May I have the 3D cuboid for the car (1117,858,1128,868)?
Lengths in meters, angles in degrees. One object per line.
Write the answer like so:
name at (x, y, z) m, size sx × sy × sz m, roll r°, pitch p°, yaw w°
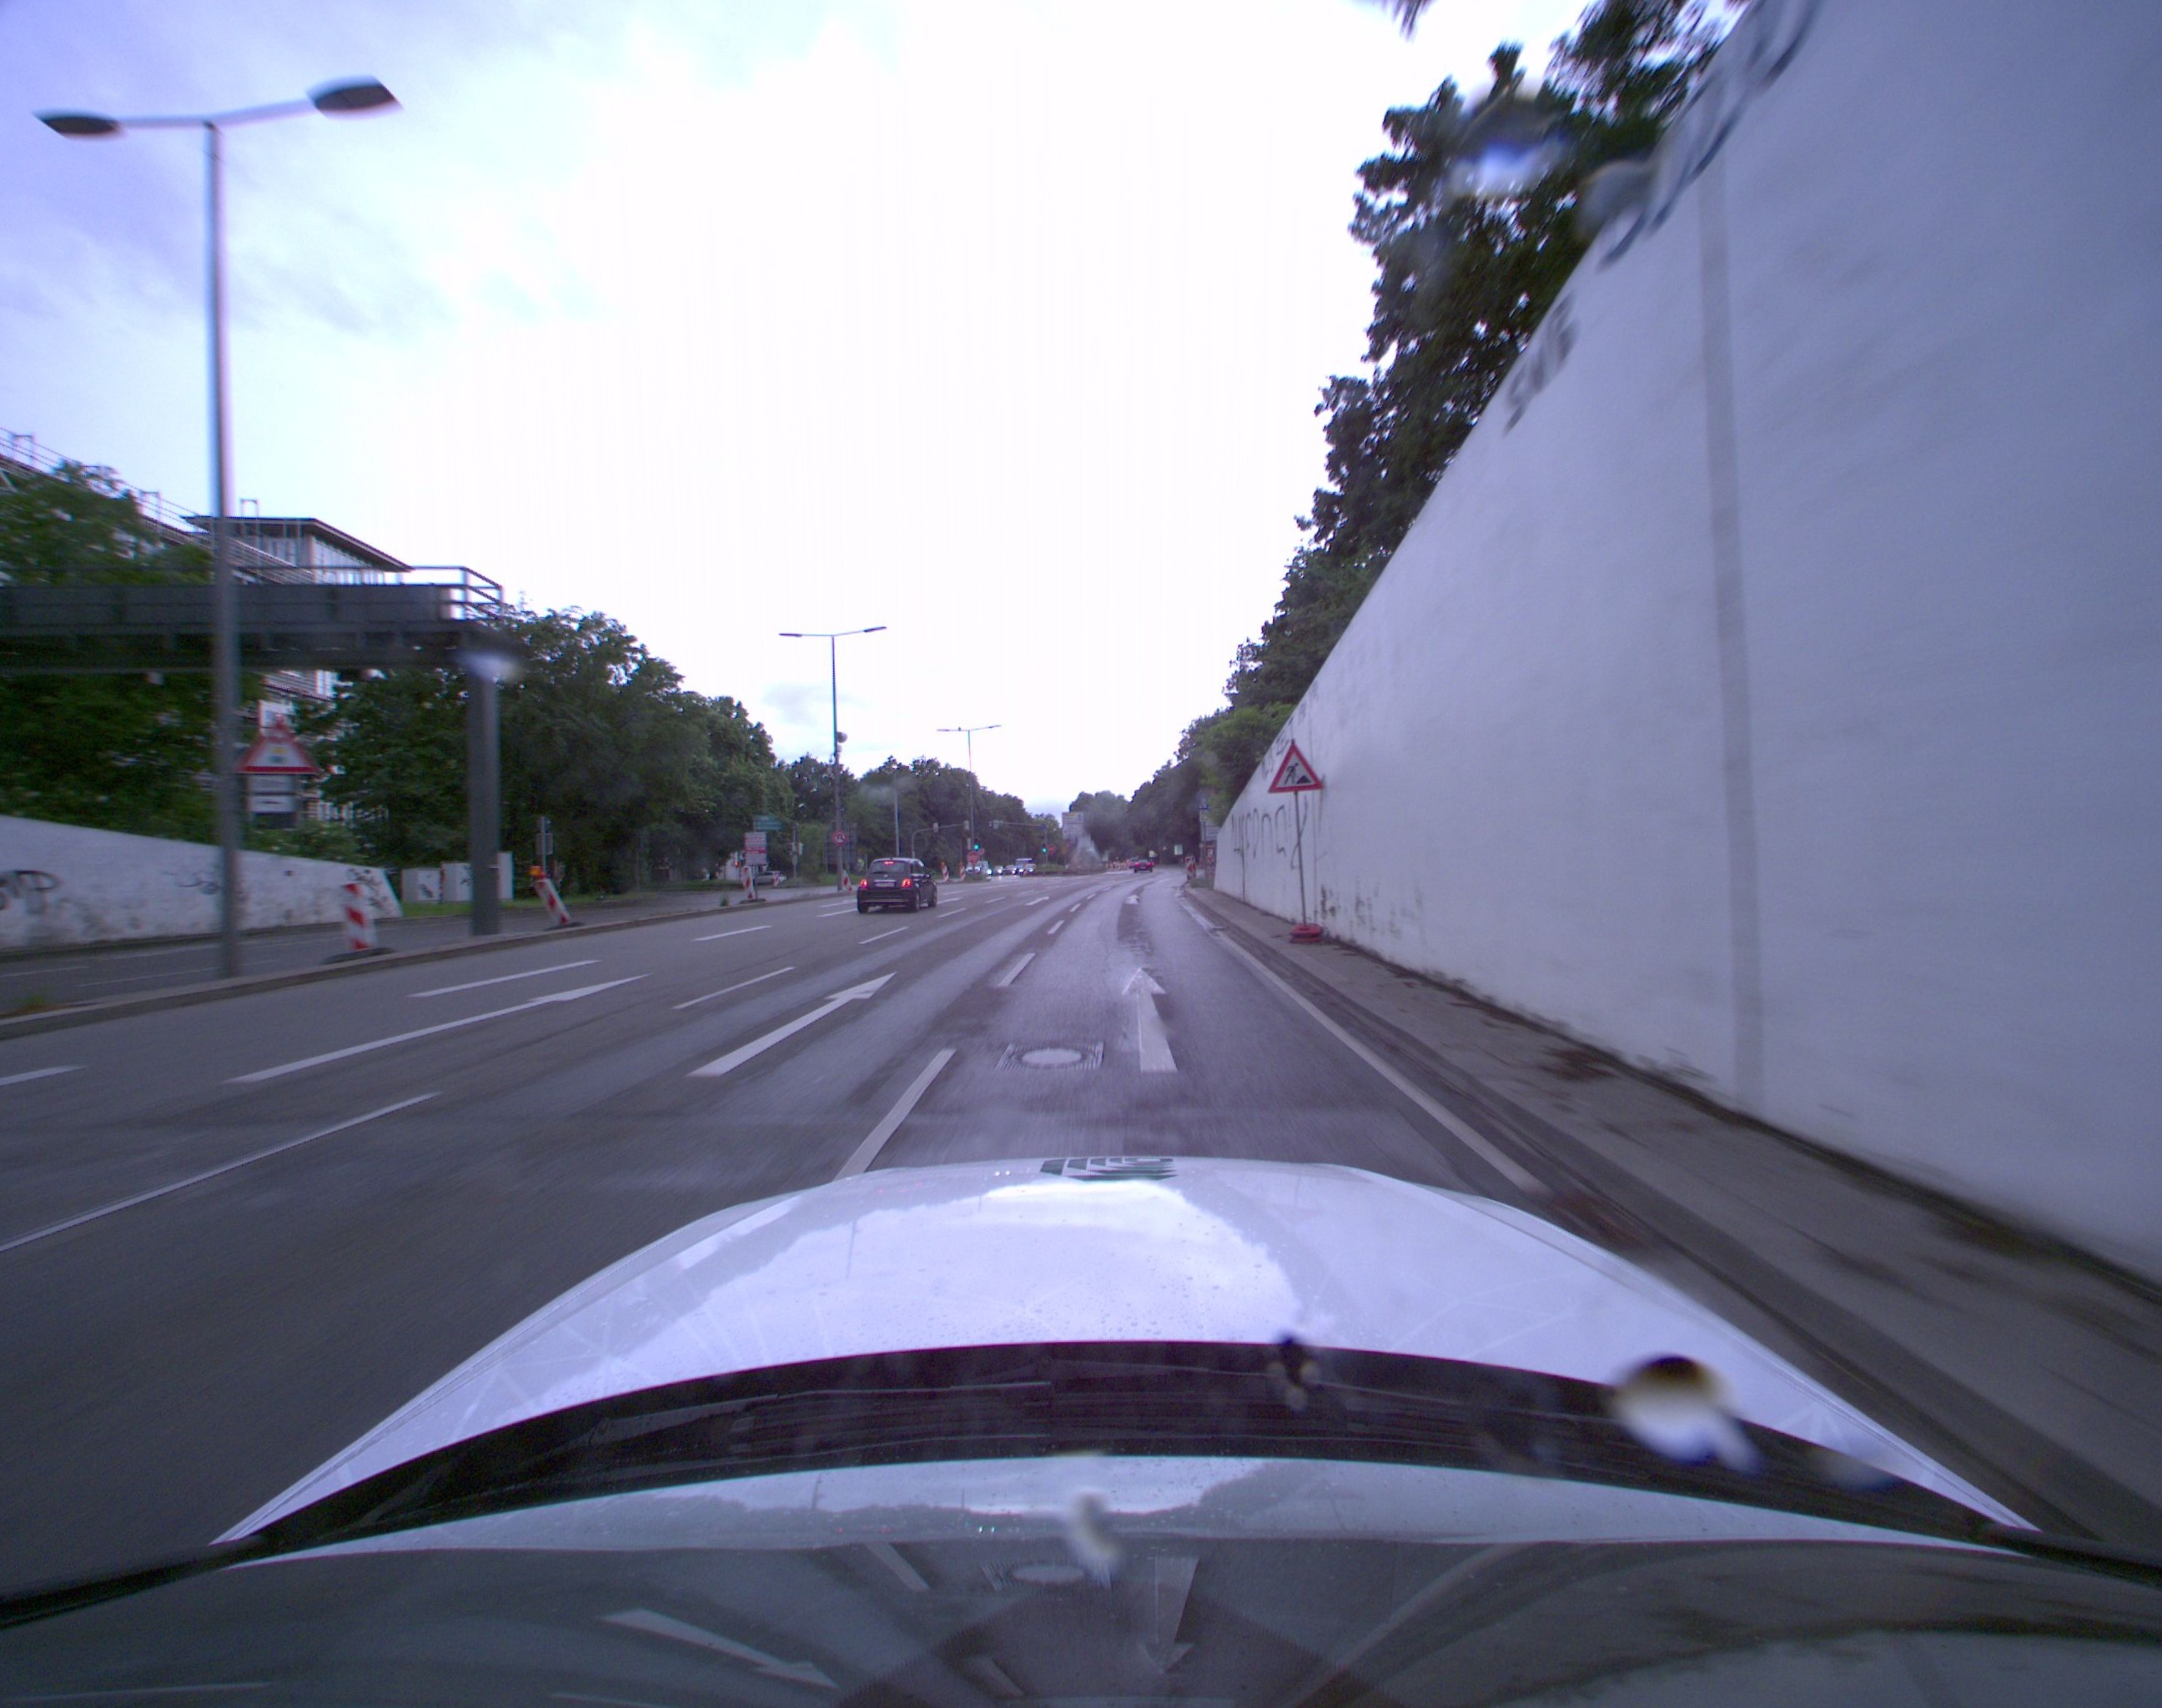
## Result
car at (8.485, 1.871, 167.763) m, size 1.987 × 2.014 × 3.999 m, roll -1°, pitch -1°, yaw 0°

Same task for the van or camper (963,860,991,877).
van or camper at (-12.840, 1.787, 100.649) m, size 2.117 × 2.014 × 5.325 m, roll -2°, pitch -1°, yaw 8°

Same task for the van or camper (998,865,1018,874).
van or camper at (-10.979, 2.279, 122.577) m, size 1.998 × 1.301 × 4.100 m, roll -2°, pitch -1°, yaw 7°

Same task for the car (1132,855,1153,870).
car at (6.232, 0.835, 82.614) m, size 1.984 × 1.448 × 4.319 m, roll -2°, pitch -1°, yaw 4°

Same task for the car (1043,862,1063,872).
car at (-3.775, 1.817, 111.528) m, size 1.998 × 1.301 × 4.324 m, roll -2°, pitch -1°, yaw 7°

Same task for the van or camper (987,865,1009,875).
van or camper at (-11.350, 2.161, 111.840) m, size 1.998 × 1.301 × 4.100 m, roll -2°, pitch -1°, yaw 7°

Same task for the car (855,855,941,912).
car at (-5.110, 0.783, 23.187) m, size 1.607 × 1.454 × 3.573 m, roll 0°, pitch 1°, yaw 0°

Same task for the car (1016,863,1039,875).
car at (-6.576, 1.854, 99.969) m, size 1.998 × 1.301 × 4.324 m, roll -2°, pitch -1°, yaw 7°

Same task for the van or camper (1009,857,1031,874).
van or camper at (-8.623, 1.586, 115.173) m, size 2.117 × 2.349 × 4.436 m, roll -2°, pitch -1°, yaw 7°

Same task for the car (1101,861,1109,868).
car at (6.416, 2.784, 215.579) m, size 1.987 × 2.014 × 3.999 m, roll -1°, pitch -1°, yaw 0°

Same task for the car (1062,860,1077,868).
car at (-1.910, 1.611, 133.913) m, size 2.000 × 1.301 × 4.320 m, roll -2°, pitch -1°, yaw 4°

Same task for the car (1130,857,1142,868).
car at (10.605, 1.586, 156.445) m, size 1.987 × 2.014 × 3.999 m, roll -1°, pitch -1°, yaw 0°

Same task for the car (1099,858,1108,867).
car at (5.460, 2.100, 200.738) m, size 1.987 × 2.014 × 3.999 m, roll -1°, pitch -1°, yaw 0°

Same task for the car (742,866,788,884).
car at (-32.976, 2.188, 85.079) m, size 3.978 × 1.683 × 1.896 m, roll -2°, pitch 1°, yaw -4°
